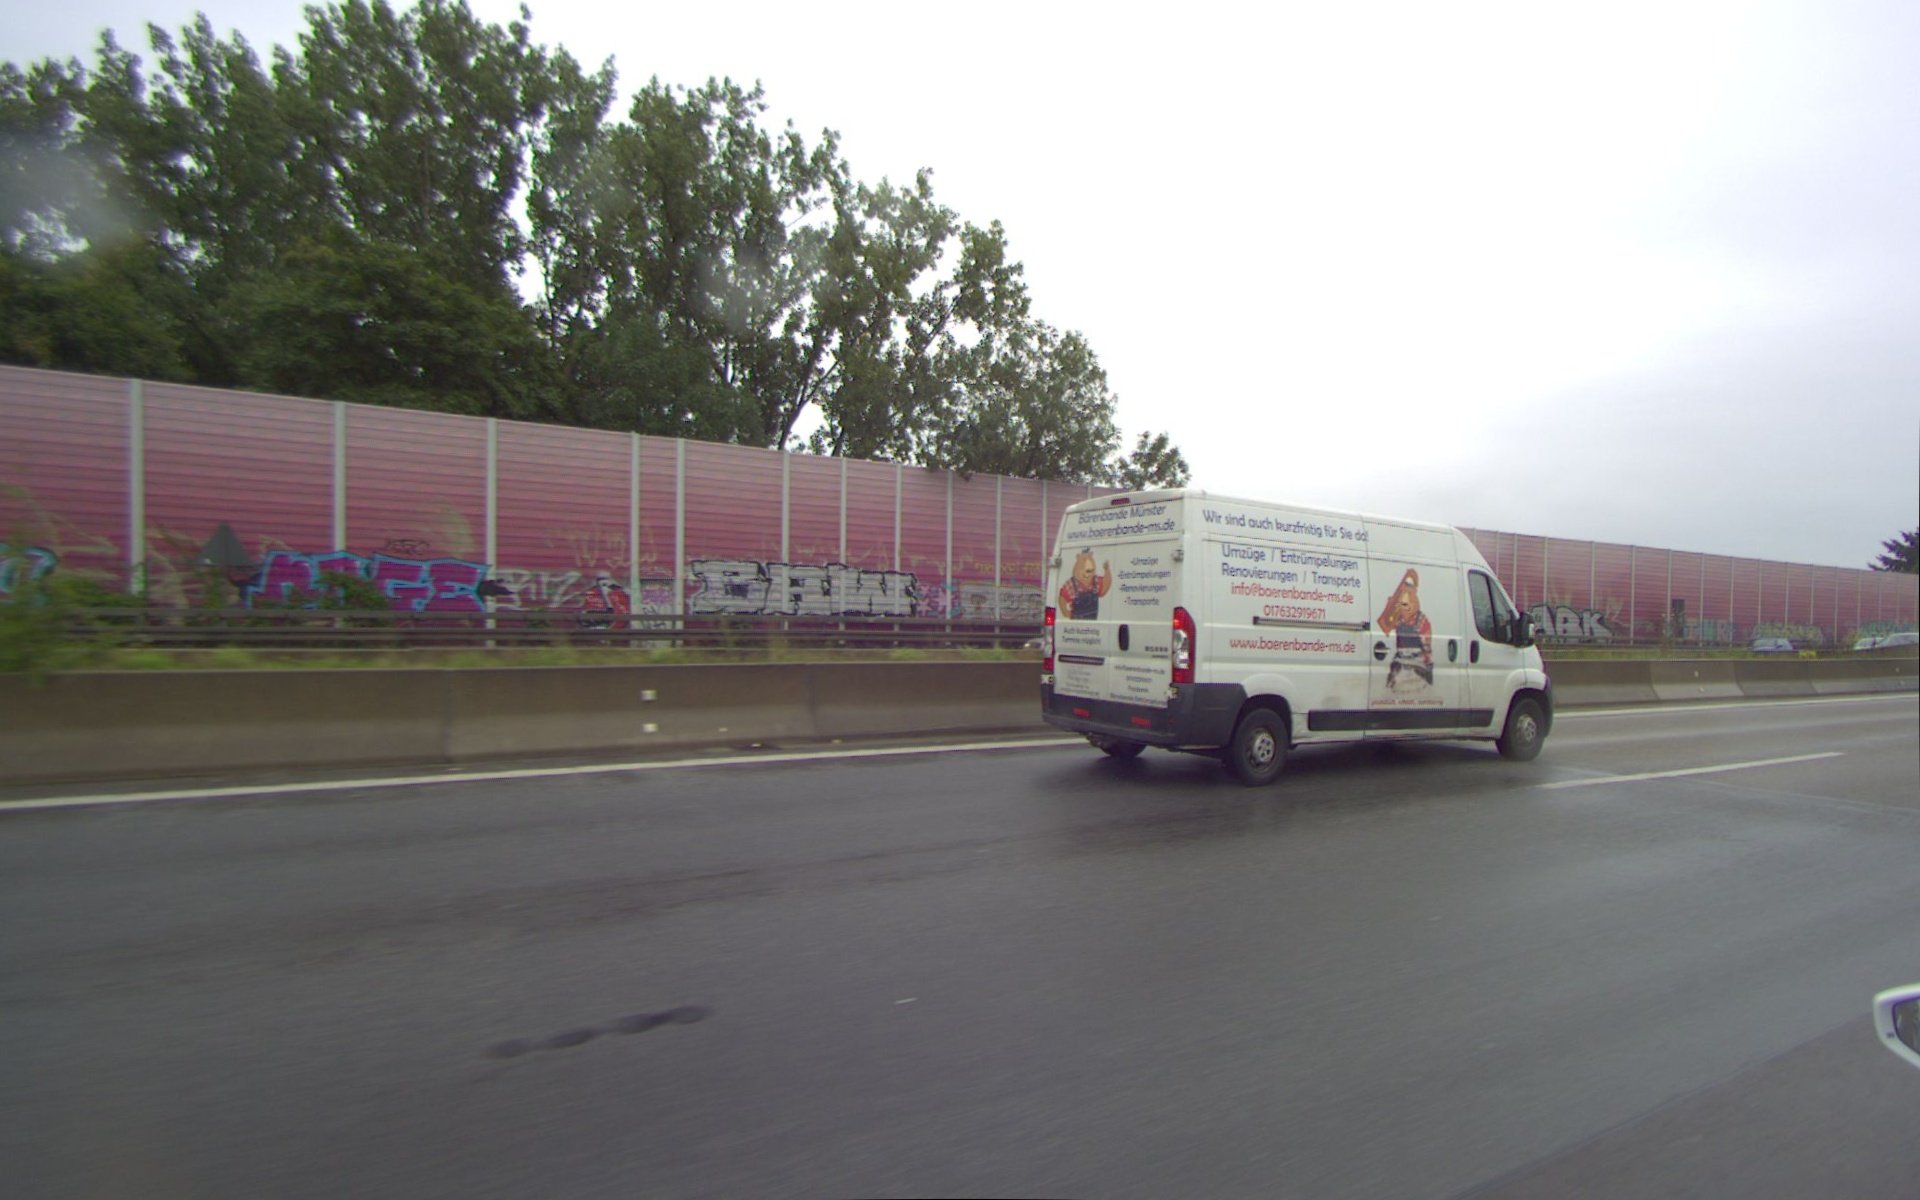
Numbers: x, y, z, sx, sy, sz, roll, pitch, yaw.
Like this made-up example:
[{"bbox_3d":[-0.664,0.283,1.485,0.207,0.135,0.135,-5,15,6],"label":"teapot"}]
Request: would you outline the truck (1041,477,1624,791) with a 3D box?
[{"bbox_3d":[4.164,0.356,10.679,6.507,2.512,2.226,2,-1,-31],"label":"truck"}]
